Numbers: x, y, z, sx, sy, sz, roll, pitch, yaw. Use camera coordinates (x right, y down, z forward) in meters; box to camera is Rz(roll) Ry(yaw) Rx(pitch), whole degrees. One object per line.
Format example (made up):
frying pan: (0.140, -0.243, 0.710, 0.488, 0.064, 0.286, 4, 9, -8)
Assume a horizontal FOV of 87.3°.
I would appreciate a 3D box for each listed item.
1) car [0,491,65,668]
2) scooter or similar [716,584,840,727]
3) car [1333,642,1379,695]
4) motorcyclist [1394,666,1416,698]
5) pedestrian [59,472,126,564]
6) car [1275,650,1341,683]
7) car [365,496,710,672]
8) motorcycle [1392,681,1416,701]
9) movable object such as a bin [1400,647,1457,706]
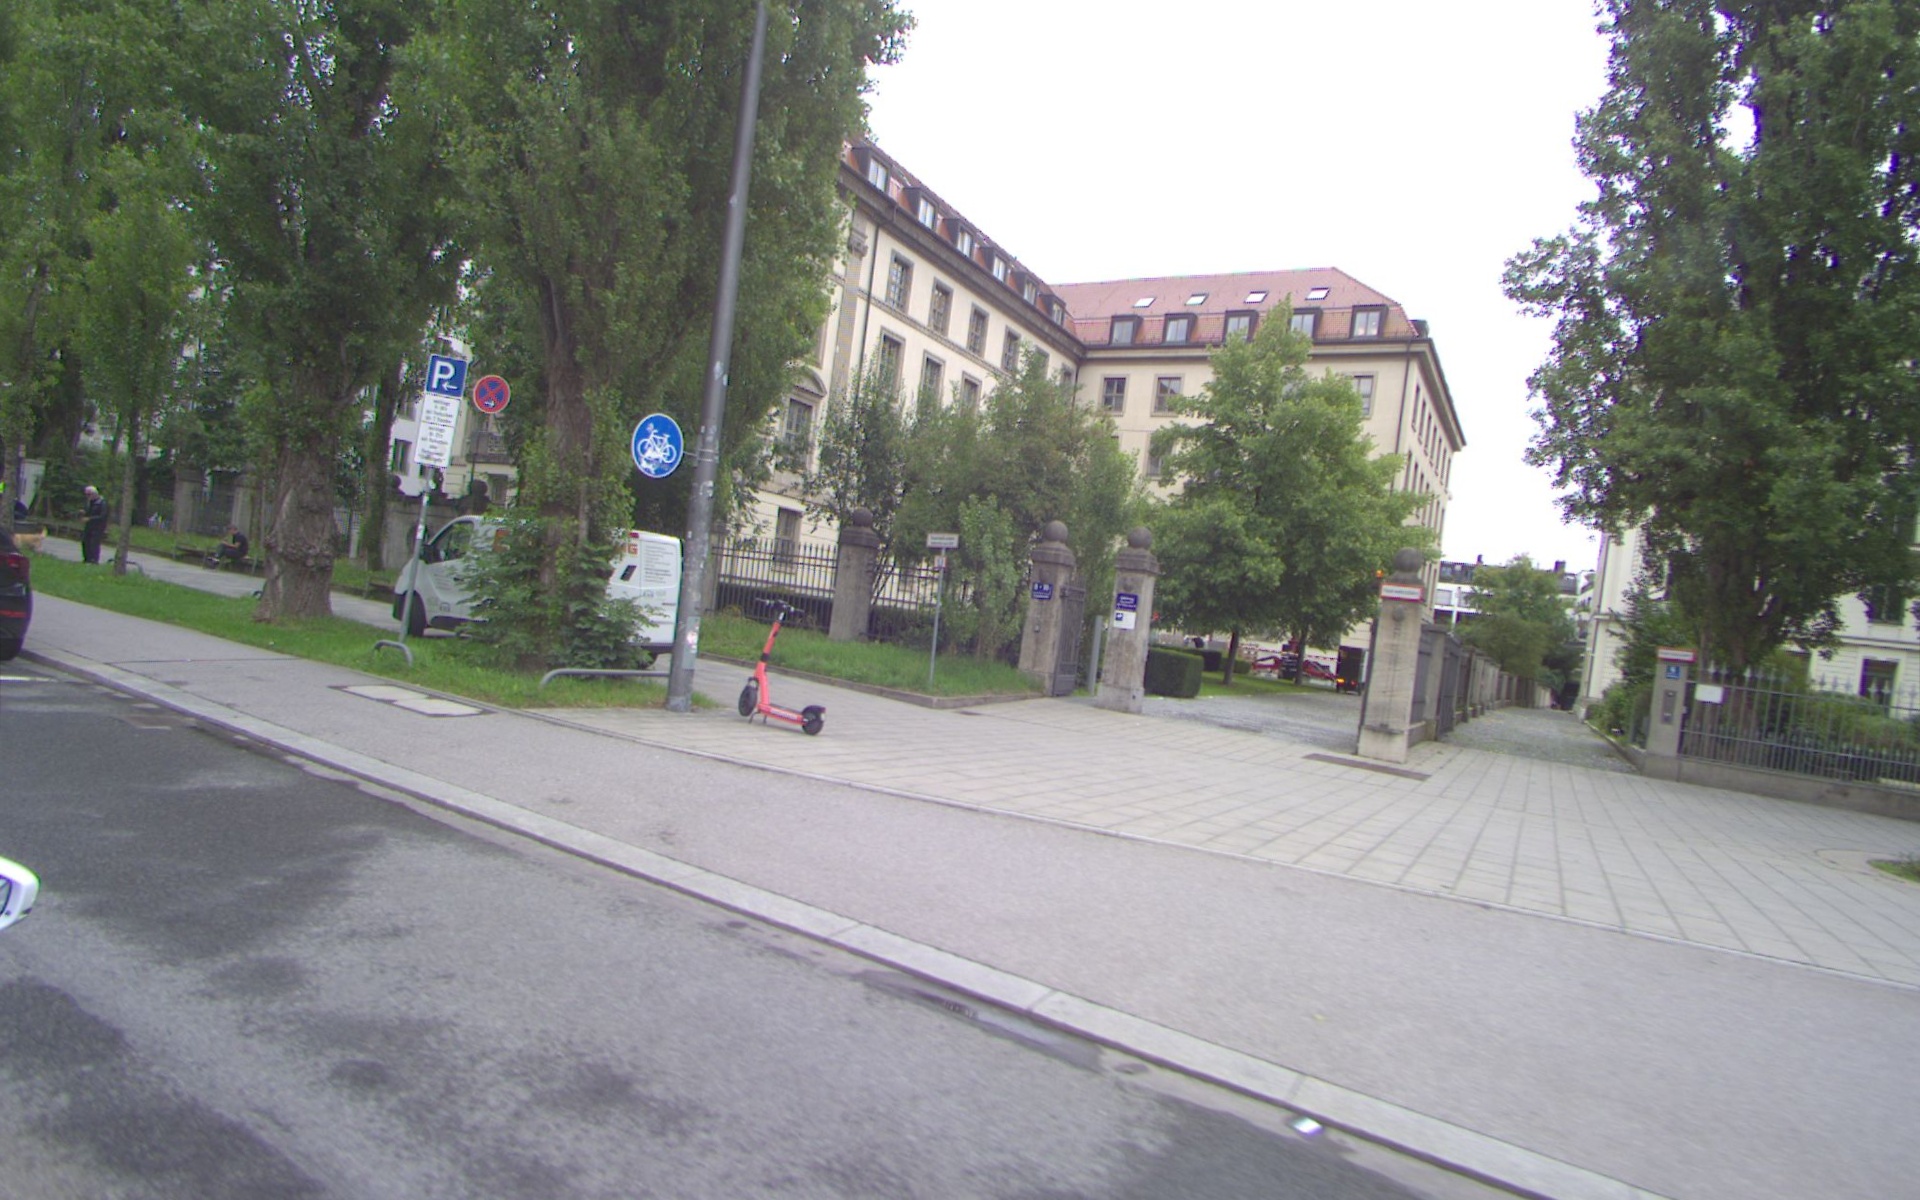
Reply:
car: (-10.051, -0.443, 9.047, 3.933, 1.466, 1.759, 7, -3, 31)
scooter or similar: (-1.839, 0.540, 10.114, 1.166, 1.281, 0.337, 7, 1, 32)
car: (17.172, 2.989, 43.572, 1.141, 2.036, 3.498, 7, 0, 30)
motorcyclist: (18.985, 3.511, 42.918, 0.613, 1.275, 0.931, 7, 0, 34)
pedestrian: (-18.947, -1.777, 21.971, 0.771, 1.862, 0.656, 7, 0, 17)
car: (18.226, 3.497, 52.705, 2.932, 1.329, 1.158, 7, 0, -11)
car: (-6.287, -0.278, 14.788, 4.999, 1.970, 1.996, 7, 0, 32)
motorcycle: (18.976, 3.893, 42.957, 0.613, 0.744, 1.564, 7, -1, 33)
movable object such as a bin: (19.251, 3.150, 41.262, 1.410, 2.167, 3.672, 7, 0, 33)
